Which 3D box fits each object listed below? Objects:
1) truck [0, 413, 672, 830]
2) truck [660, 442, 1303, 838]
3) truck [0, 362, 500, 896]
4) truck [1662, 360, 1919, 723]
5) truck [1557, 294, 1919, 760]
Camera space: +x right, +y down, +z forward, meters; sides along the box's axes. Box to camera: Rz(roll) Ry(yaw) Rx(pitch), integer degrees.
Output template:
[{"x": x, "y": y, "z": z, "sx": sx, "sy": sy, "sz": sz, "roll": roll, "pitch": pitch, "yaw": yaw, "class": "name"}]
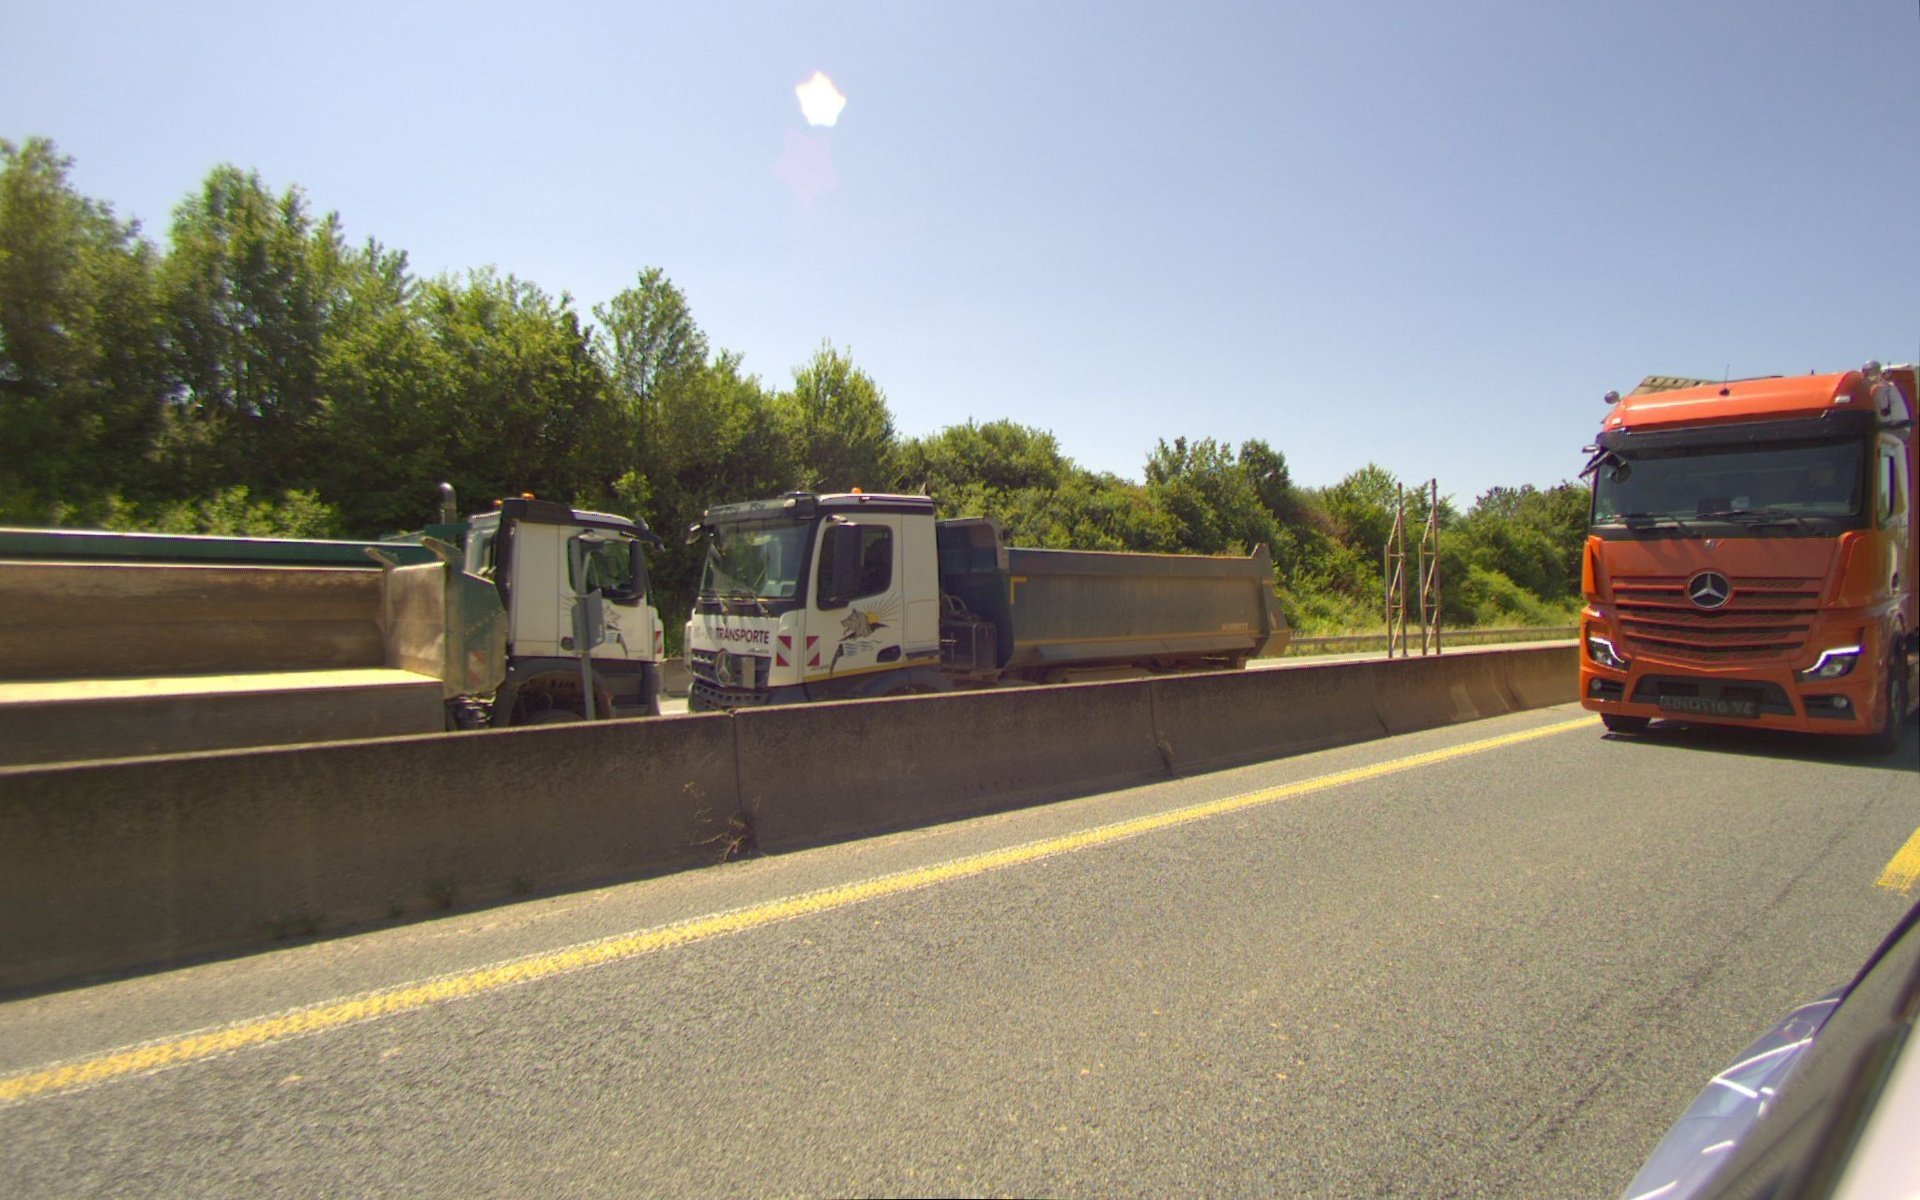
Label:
[{"x": -7.567, "y": 0.175, "z": 10.976, "sx": 8.235, "sy": 3.556, "sz": 2.691, "roll": 0, "pitch": 0, "yaw": -42, "class": "truck"}, {"x": 0.907, "y": 0.344, "z": 13.021, "sx": 8.939, "sy": 3.556, "sz": 2.537, "roll": 0, "pitch": 0, "yaw": -42, "class": "truck"}, {"x": -8.132, "y": 0.194, "z": 6.889, "sx": 8.789, "sy": 3.556, "sz": 2.537, "roll": 0, "pitch": 0, "yaw": -42, "class": "truck"}, {"x": 14.970, "y": -0.718, "z": 16.369, "sx": 12.986, "sy": 4.061, "sz": 2.687, "roll": -1, "pitch": 0, "yaw": -40, "class": "truck"}, {"x": 9.842, "y": -0.669, "z": 11.995, "sx": 6.606, "sy": 4.061, "sz": 2.687, "roll": -1, "pitch": 0, "yaw": -40, "class": "truck"}]
